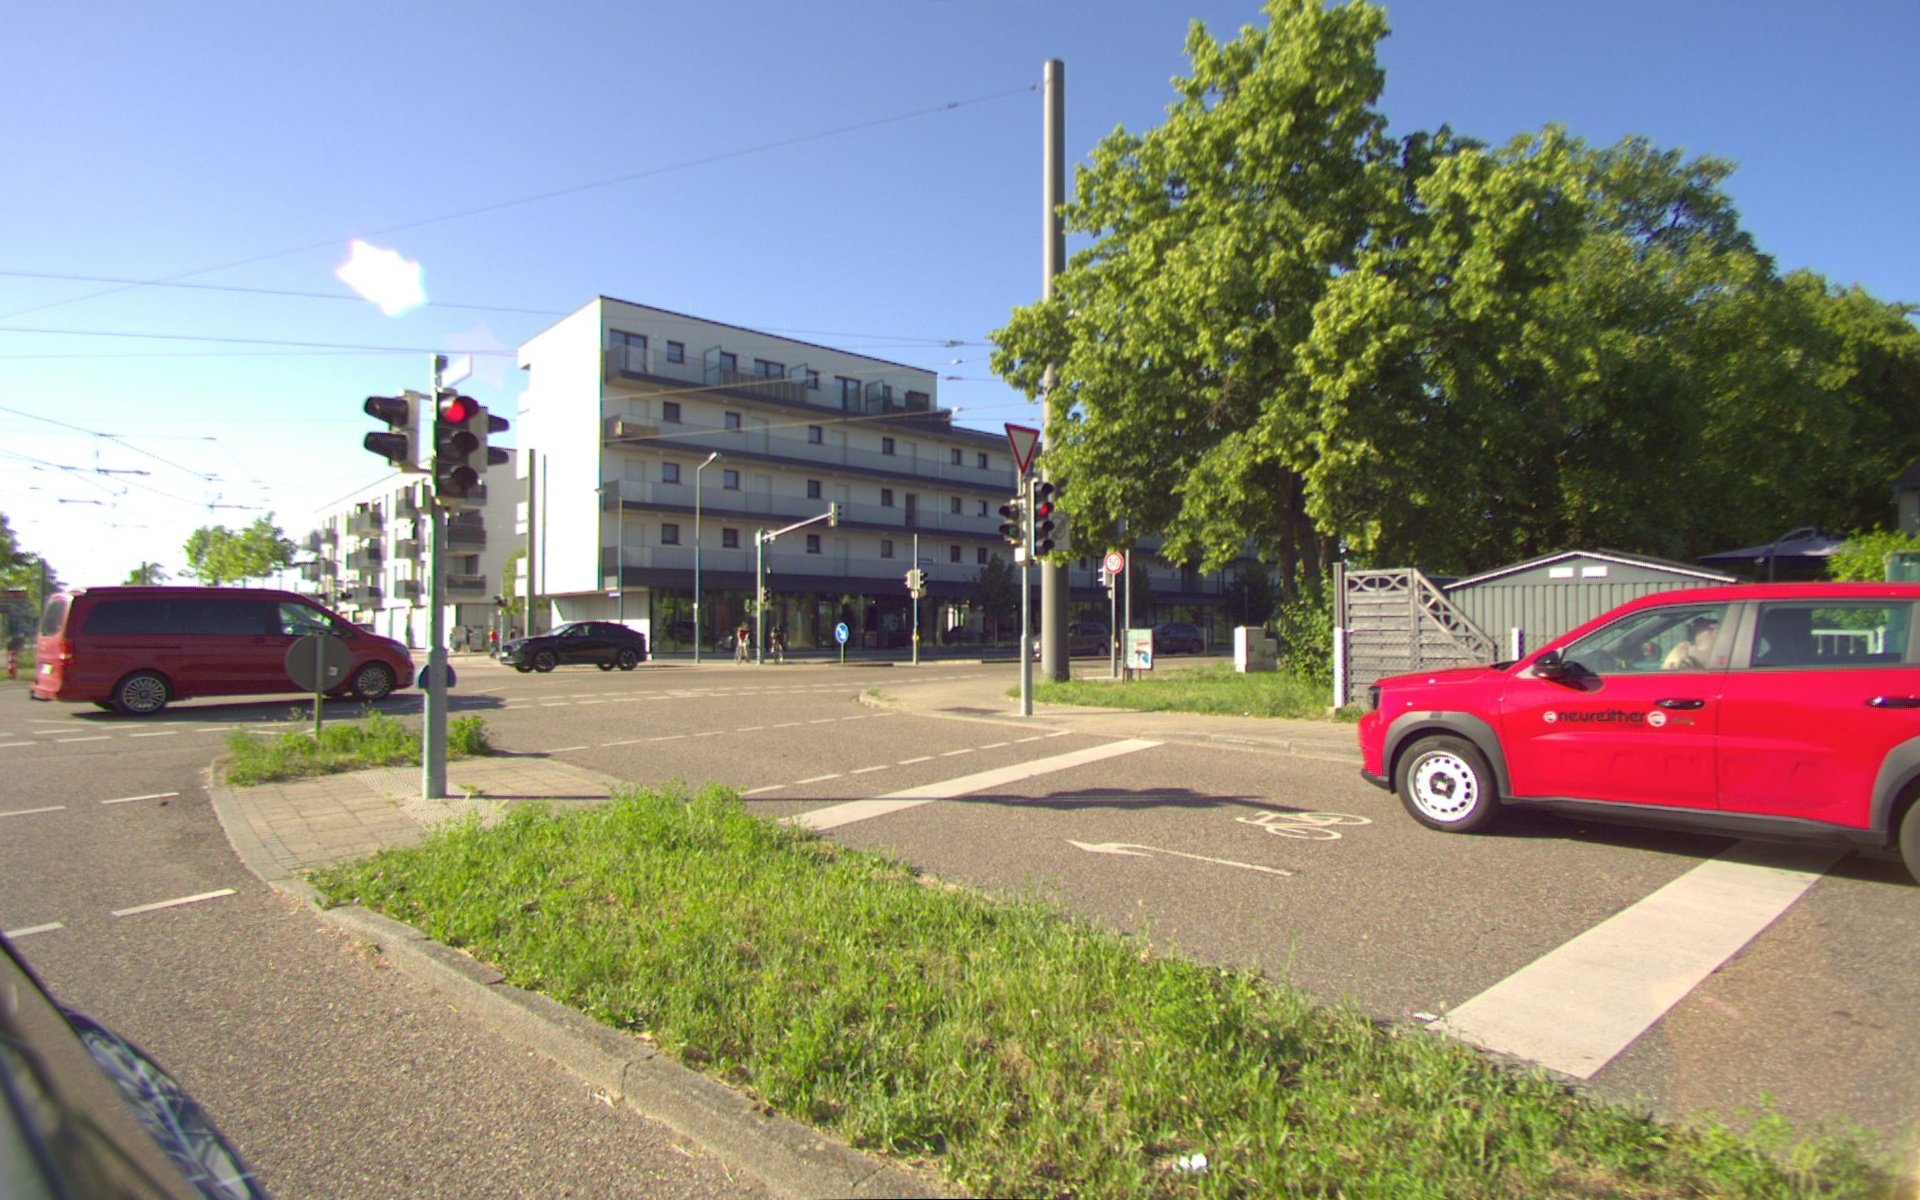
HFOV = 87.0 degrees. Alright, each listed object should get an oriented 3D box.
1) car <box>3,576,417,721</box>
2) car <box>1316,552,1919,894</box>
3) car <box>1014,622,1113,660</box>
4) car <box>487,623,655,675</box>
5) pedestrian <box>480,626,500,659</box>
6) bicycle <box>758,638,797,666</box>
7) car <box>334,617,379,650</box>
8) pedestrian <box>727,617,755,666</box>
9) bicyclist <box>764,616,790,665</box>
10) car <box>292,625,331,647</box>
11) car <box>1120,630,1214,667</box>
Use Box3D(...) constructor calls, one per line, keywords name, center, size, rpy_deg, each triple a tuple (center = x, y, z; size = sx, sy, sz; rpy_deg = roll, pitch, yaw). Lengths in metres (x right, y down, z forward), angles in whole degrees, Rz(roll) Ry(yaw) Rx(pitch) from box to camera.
Box3D(name="car", center=(-11.940, 0.695, 16.479), size=(2.126, 1.984, 5.019), rpy_deg=(1, -1, 38))
Box3D(name="car", center=(4.589, 0.610, 6.145), size=(1.915, 1.601, 4.188), rpy_deg=(1, -2, -39))
Box3D(name="car", center=(4.501, 1.750, 43.741), size=(3.934, 1.583, 2.005), rpy_deg=(1, -3, -36))
Box3D(name="car", center=(-12.470, 1.546, 32.596), size=(4.663, 1.546, 1.977), rpy_deg=(1, -3, -38))
Box3D(name="pedestrian", center=(-24.070, 2.177, 51.832), size=(0.741, 1.699, 0.576), rpy_deg=(2, -1, -42))
Box3D(name="bicycle", center=(-7.749, 2.213, 42.921), size=(1.640, 1.152, 0.735), rpy_deg=(-2, -3, 37))
Box3D(name="car", center=(-40.493, 2.228, 67.850), size=(1.968, 2.029, 4.007), rpy_deg=(2, -1, -40))
Box3D(name="pedestrian", center=(-9.178, 1.720, 42.361), size=(0.980, 2.029, 0.749), rpy_deg=(-3, -3, 44))
Box3D(name="bicyclist", center=(-7.760, 1.715, 42.938), size=(0.794, 2.029, 0.801), rpy_deg=(-2, -3, 37))
Box3D(name="car", center=(-51.226, 2.815, 79.891), size=(1.969, 1.565, 4.006), rpy_deg=(2, -1, -41))
Box3D(name="car", center=(10.539, 2.414, 51.326), size=(5.119, 1.751, 2.002), rpy_deg=(1, -3, -42))
